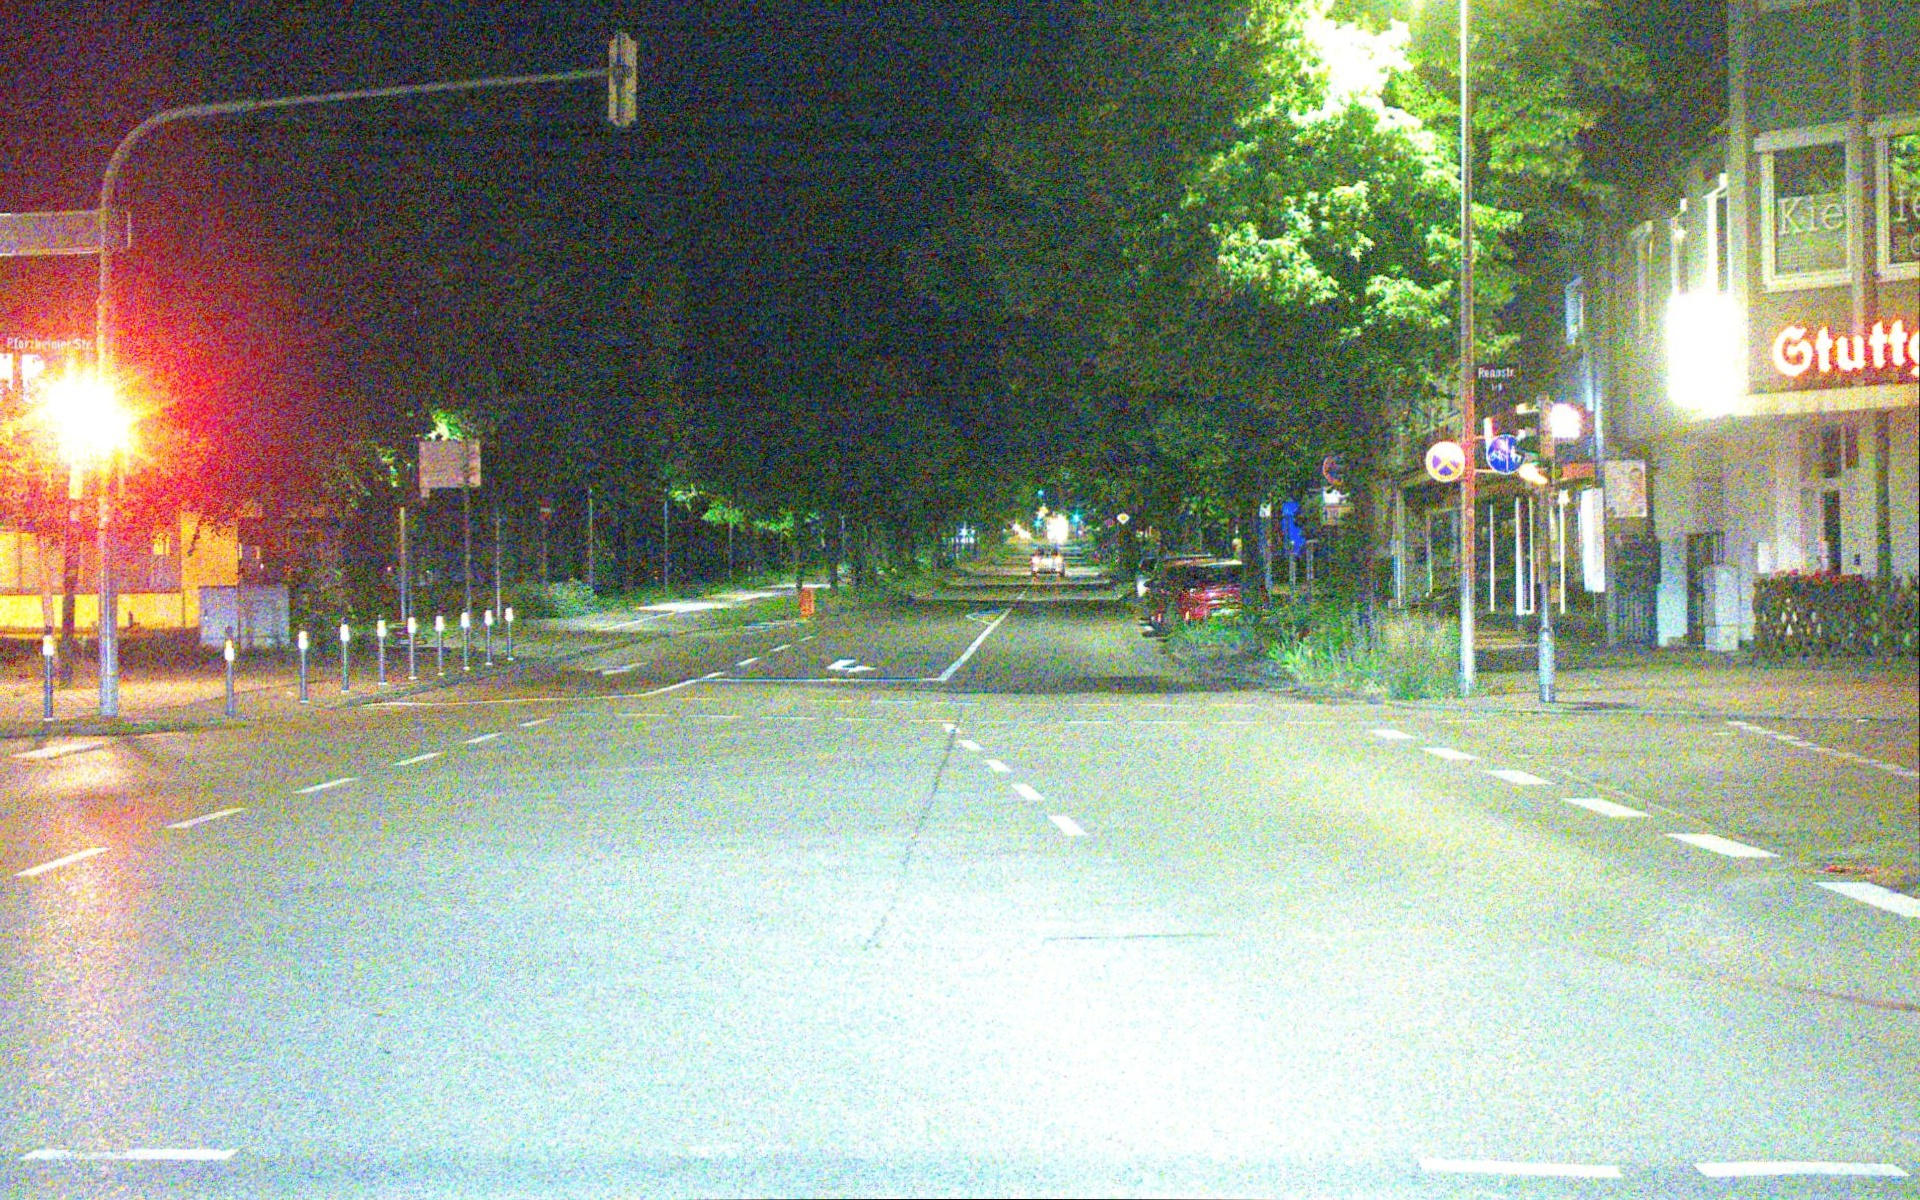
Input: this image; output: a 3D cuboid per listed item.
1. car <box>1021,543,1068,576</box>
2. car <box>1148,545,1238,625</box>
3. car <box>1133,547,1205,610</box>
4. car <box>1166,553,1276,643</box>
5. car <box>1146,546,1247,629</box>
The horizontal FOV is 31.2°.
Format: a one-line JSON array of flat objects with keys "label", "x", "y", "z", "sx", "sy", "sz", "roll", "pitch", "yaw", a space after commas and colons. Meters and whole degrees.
[{"label": "car", "x": 4.222, "y": -2.038, "z": 171.950, "sx": 2.227, "sy": 1.645, "sz": 4.000, "roll": 0, "pitch": 1, "yaw": 0}, {"label": "car", "x": 5.166, "y": -0.342, "z": 76.477, "sx": 1.876, "sy": 1.723, "sz": 4.000, "roll": 0, "pitch": 1, "yaw": 2}, {"label": "car", "x": 5.738, "y": -0.591, "z": 94.555, "sx": 1.876, "sy": 1.678, "sz": 4.000, "roll": 0, "pitch": 1, "yaw": 2}, {"label": "car", "x": 4.812, "y": -0.062, "z": 63.718, "sx": 1.876, "sy": 1.610, "sz": 4.000, "roll": 0, "pitch": 1, "yaw": 2}, {"label": "car", "x": 4.706, "y": -0.261, "z": 68.807, "sx": 1.876, "sy": 1.610, "sz": 4.000, "roll": 0, "pitch": 1, "yaw": 2}]
